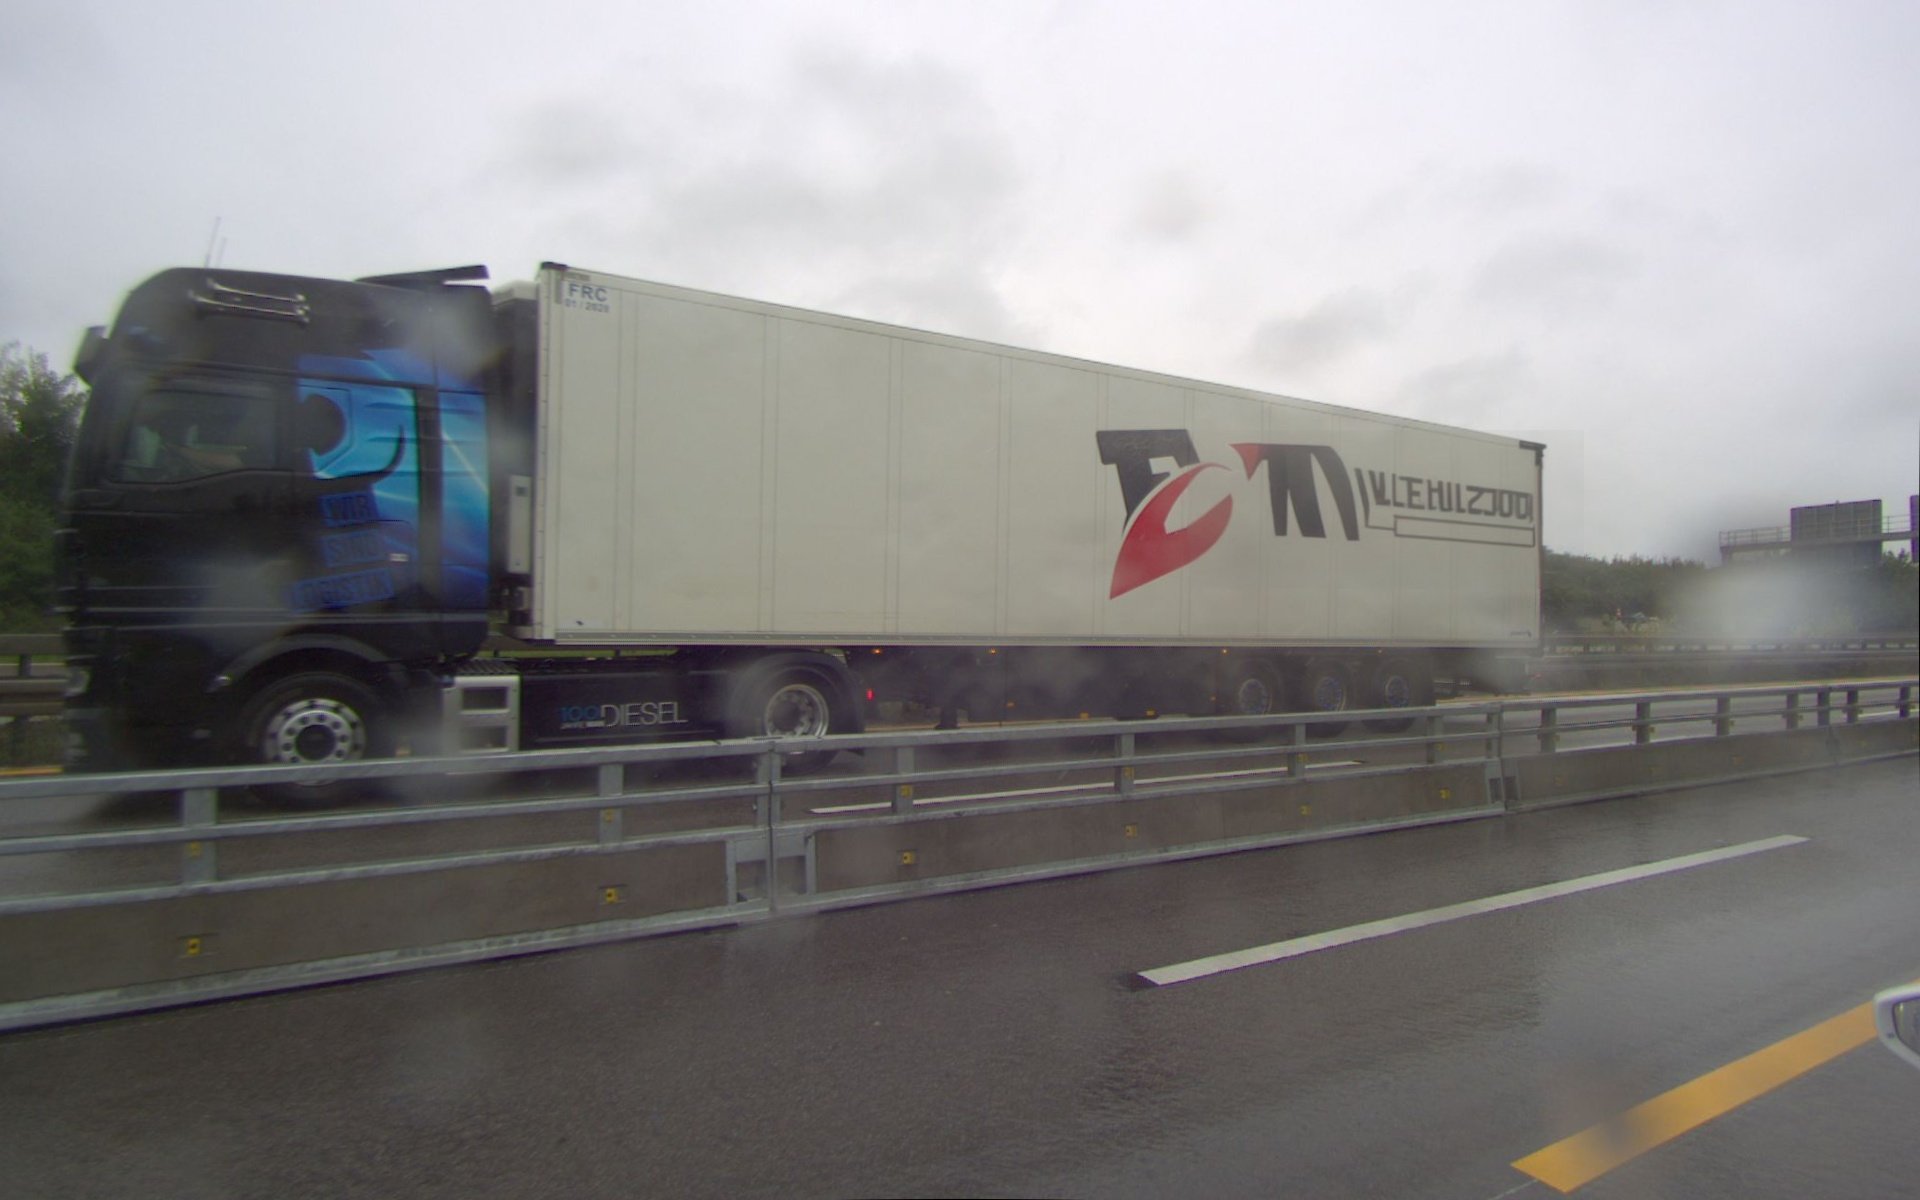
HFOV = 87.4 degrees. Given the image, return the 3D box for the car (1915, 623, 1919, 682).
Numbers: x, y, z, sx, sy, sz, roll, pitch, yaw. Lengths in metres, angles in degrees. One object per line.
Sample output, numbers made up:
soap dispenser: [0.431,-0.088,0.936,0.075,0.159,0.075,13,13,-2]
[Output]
car: [27.048,1.436,26.477,4.167,1.524,1.600,2,0,-30]

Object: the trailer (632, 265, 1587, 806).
trailer: [2.809,-0.312,12.524,12.743,4.343,2.879,2,-1,-30]

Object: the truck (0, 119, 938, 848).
truck: [-3.641,-0.578,8.691,6.251,4.287,2.876,2,-1,-30]
